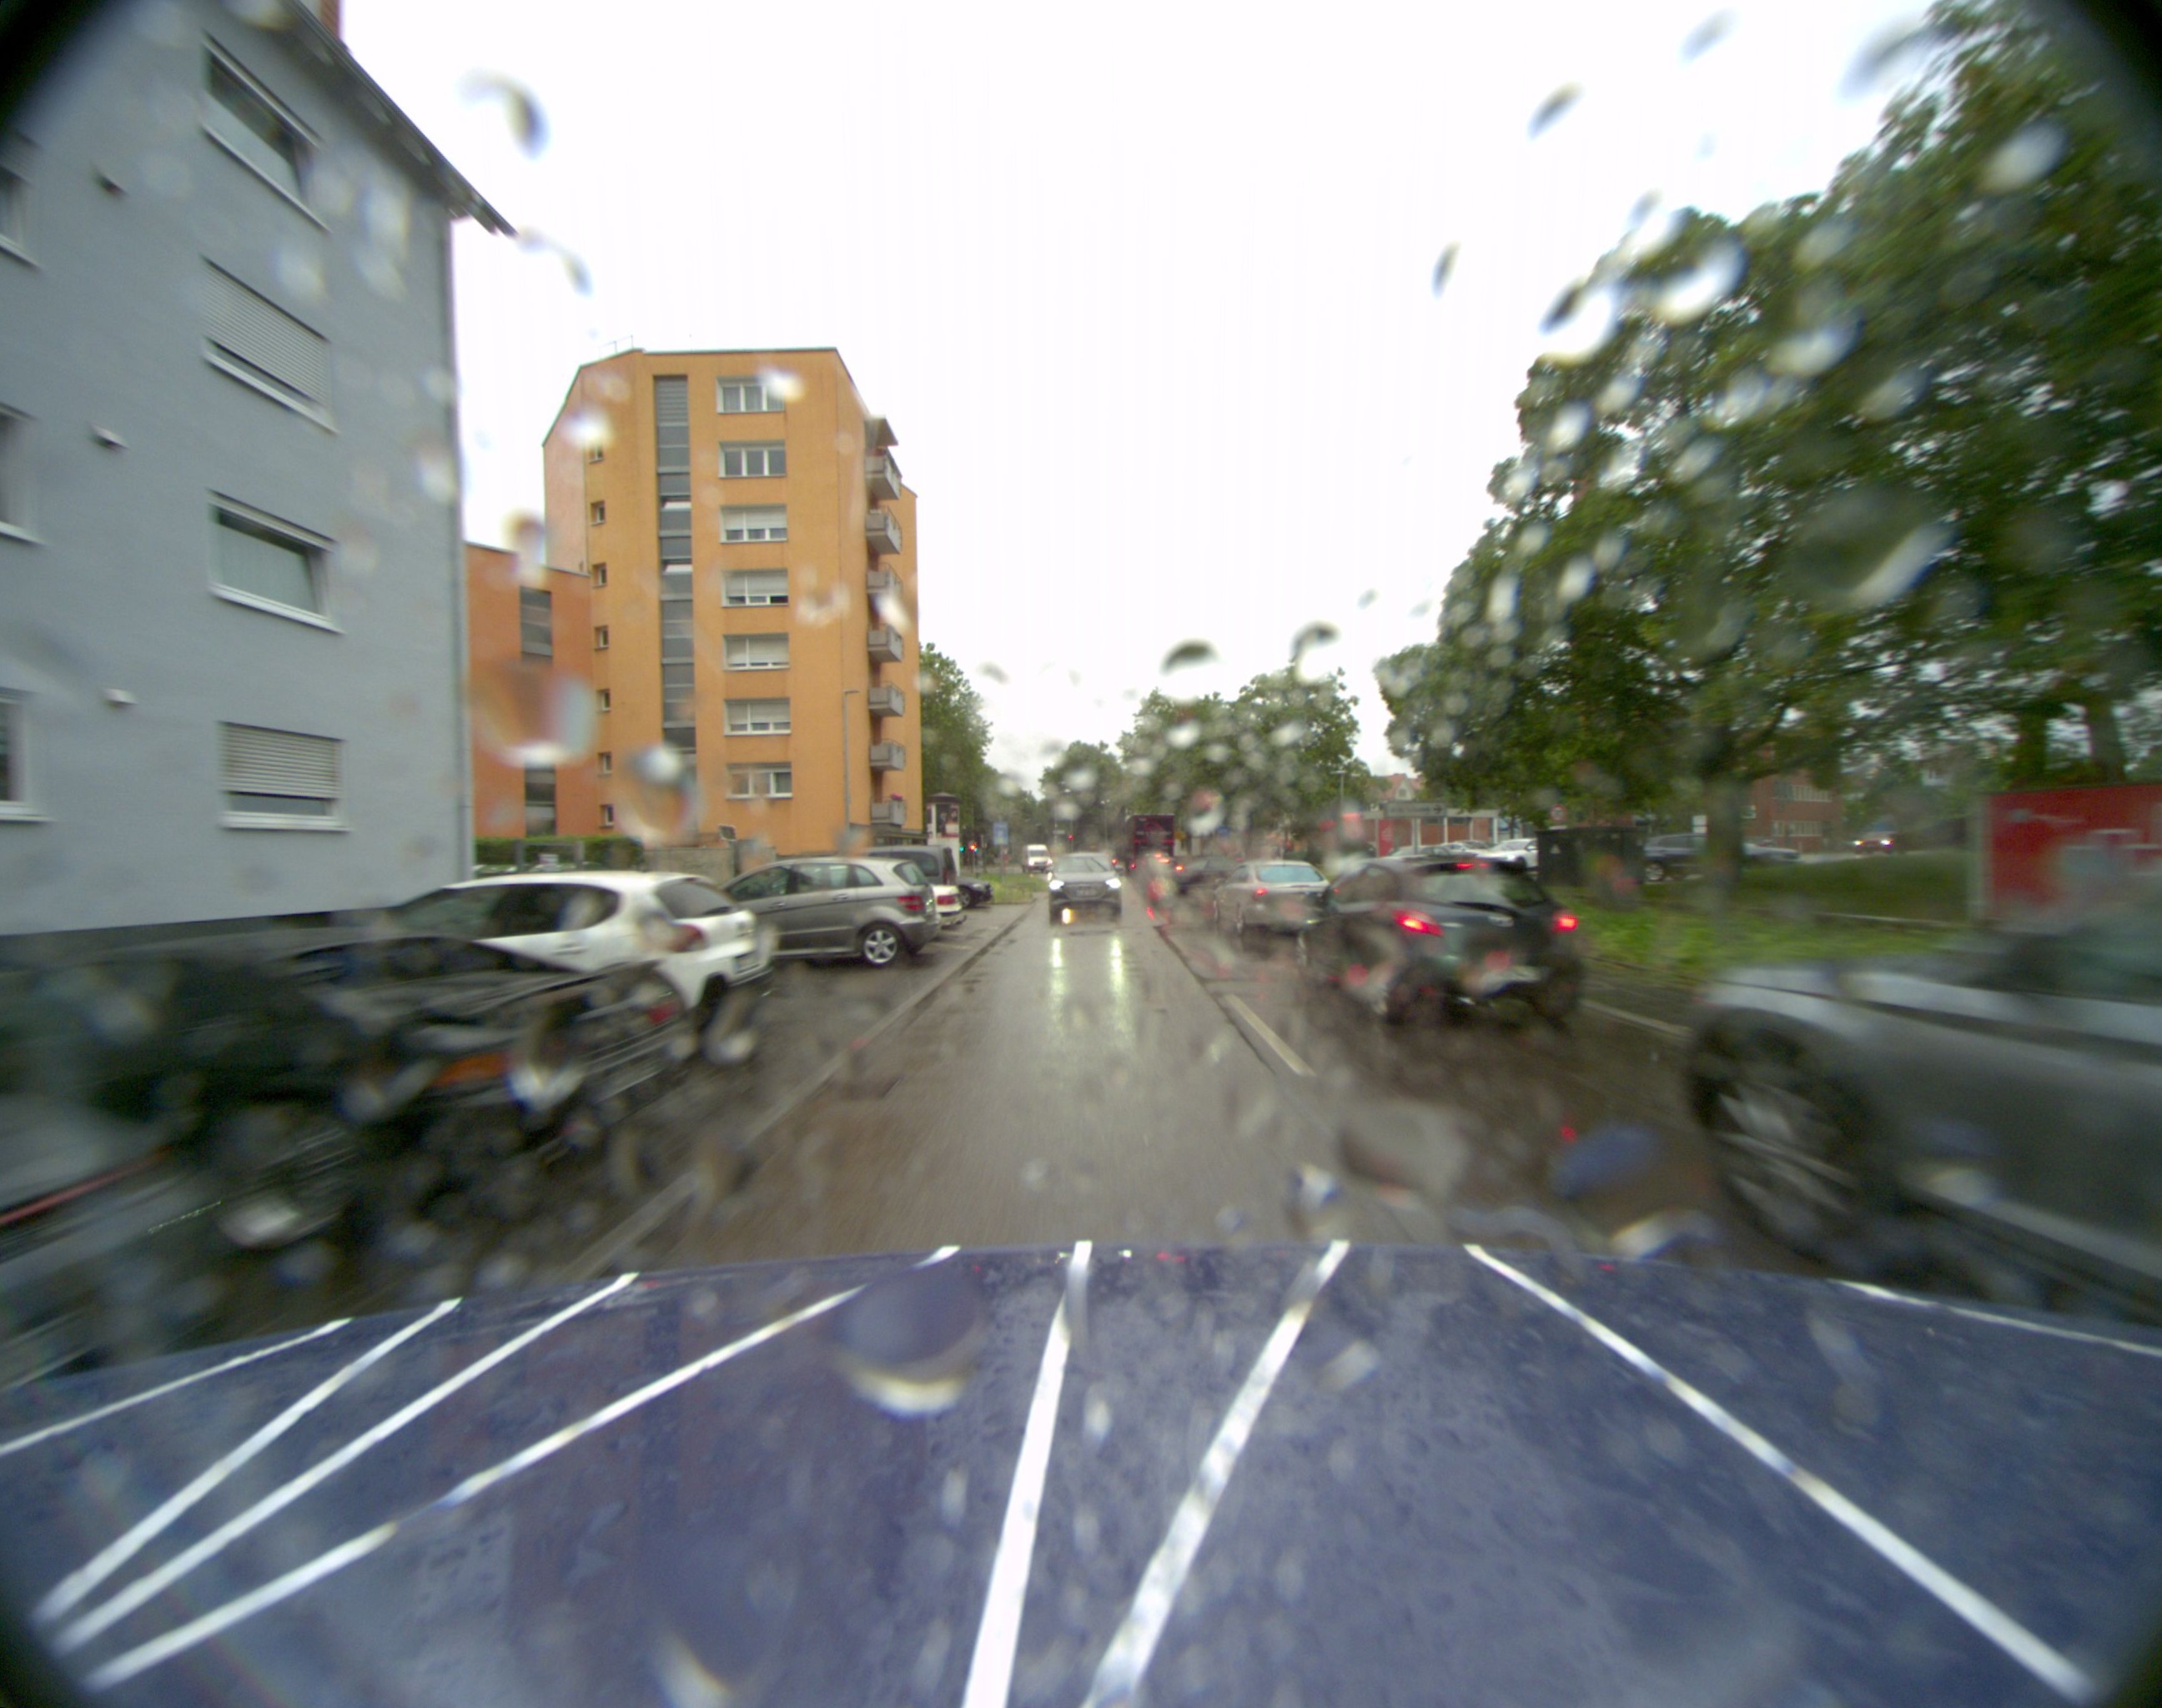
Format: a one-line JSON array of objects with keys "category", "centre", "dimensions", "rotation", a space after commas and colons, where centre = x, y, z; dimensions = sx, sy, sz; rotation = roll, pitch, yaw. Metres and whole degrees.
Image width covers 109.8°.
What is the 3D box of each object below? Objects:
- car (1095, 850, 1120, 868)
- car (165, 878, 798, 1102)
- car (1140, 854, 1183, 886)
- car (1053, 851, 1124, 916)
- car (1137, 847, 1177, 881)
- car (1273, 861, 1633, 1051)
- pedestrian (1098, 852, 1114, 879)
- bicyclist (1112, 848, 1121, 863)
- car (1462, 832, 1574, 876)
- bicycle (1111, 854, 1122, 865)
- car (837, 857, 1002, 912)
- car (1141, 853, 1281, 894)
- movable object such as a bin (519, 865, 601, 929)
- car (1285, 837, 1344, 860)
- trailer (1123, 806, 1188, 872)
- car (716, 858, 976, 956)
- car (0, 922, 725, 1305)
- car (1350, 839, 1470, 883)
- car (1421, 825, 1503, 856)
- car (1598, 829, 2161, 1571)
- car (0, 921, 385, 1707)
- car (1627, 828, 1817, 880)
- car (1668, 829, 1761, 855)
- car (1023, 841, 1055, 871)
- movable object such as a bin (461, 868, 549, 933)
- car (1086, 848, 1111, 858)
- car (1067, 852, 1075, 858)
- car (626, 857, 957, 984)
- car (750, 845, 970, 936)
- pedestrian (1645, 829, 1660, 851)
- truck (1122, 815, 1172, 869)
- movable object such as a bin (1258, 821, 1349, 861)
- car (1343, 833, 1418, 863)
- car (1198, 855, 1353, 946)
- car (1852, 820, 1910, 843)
[{"category": "car", "centre": [2.127, 0.381, 62.317], "dimensions": [1.703, 1.365, 4.099], "rotation": [-2, 0, -2]}, {"category": "car", "centre": [-4.709, 1.022, 6.481], "dimensions": [3.864, 1.446, 1.836], "rotation": [-2, 1, -1]}, {"category": "car", "centre": [3.704, 0.700, 35.335], "dimensions": [1.730, 1.353, 4.338], "rotation": [-1, 0, 3]}, {"category": "car", "centre": [0.246, 0.767, 21.750], "dimensions": [1.809, 1.611, 4.137], "rotation": [-1, 1, 2]}, {"category": "car", "centre": [4.157, 0.521, 42.114], "dimensions": [1.872, 1.610, 4.801], "rotation": [-1, 2, 2]}, {"category": "car", "centre": [3.430, 0.819, 8.039], "dimensions": [1.783, 1.412, 4.265], "rotation": [-1, 0, 1]}, {"category": "pedestrian", "centre": [1.700, 0.757, 52.166], "dimensions": [0.870, 1.833, 0.993], "rotation": [-1, 1, 14]}, {"category": "bicyclist", "centre": [3.473, 0.190, 74.344], "dimensions": [0.581, 1.452, 1.010], "rotation": [-1, 1, -12]}, {"category": "car", "centre": [18.843, -0.036, 32.713], "dimensions": [4.655, 1.697, 2.041], "rotation": [-2, 1, -29]}, {"category": "bicycle", "centre": [3.478, 0.513, 74.307], "dimensions": [0.533, 1.018, 1.872], "rotation": [-1, 0, -12]}, {"category": "car", "centre": [-4.800, 0.894, 23.092], "dimensions": [4.544, 1.462, 1.983], "rotation": [-1, 1, 1]}, {"category": "car", "centre": [5.031, 0.748, 29.618], "dimensions": [4.915, 1.445, 2.090], "rotation": [-1, 0, 33]}, {"category": "movable object such as a bin", "centre": [-11.659, 0.948, 17.040], "dimensions": [1.237, 1.369, 0.823], "rotation": [-2, 0, 8]}, {"category": "car", "centre": [17.838, -0.378, 58.182], "dimensions": [3.994, 1.591, 2.002], "rotation": [-2, -1, 9]}, {"category": "trailer", "centre": [5.035, -0.933, 54.477], "dimensions": [3.450, 4.025, 15.051], "rotation": [-1, 0, 1]}, {"category": "car", "centre": [-4.184, 0.916, 14.081], "dimensions": [4.200, 1.559, 1.888], "rotation": [-1, 1, -1]}, {"category": "car", "centre": [-4.204, 1.082, 3.810], "dimensions": [3.863, 1.200, 1.956], "rotation": [-2, 0, 3]}, {"category": "car", "centre": [12.738, 0.246, 29.403], "dimensions": [4.346, 1.387, 2.008], "rotation": [-3, 1, -29]}, {"category": "car", "centre": [26.380, -0.902, 52.783], "dimensions": [2.003, 2.002, 4.665], "rotation": [-2, 0, -34]}, {"category": "car", "centre": [3.350, 0.776, 1.194], "dimensions": [1.918, 1.630, 4.822], "rotation": [-2, 1, 2]}, {"category": "car", "centre": [-4.196, 1.031, 1.268], "dimensions": [4.154, 1.477, 2.012], "rotation": [-2, 1, 1]}, {"category": "car", "centre": [20.358, 0.033, 24.353], "dimensions": [1.792, 1.500, 4.290], "rotation": [-1, -1, -28]}, {"category": "car", "centre": [46.509, -0.891, 55.876], "dimensions": [2.003, 1.713, 4.891], "rotation": [-2, 0, -33]}, {"category": "car", "centre": [-3.990, 0.186, 71.340], "dimensions": [2.284, 2.547, 6.506], "rotation": [-2, 0, -8]}, {"category": "movable object such as a bin", "centre": [-12.977, 1.031, 17.139], "dimensions": [1.218, 1.369, 0.955], "rotation": [-2, 0, 8]}, {"category": "car", "centre": [3.255, -0.131, 141.730], "dimensions": [4.668, 1.863, 2.034], "rotation": [-1, 0, 2]}, {"category": "car", "centre": [-2.952, 0.237, 220.818], "dimensions": [1.999, 1.795, 4.349], "rotation": [-2, 0, -2]}, {"category": "car", "centre": [-4.155, 0.925, 11.467], "dimensions": [4.192, 1.562, 1.890], "rotation": [-2, 1, 0]}, {"category": "car", "centre": [-4.677, 0.740, 16.639], "dimensions": [4.243, 1.795, 1.944], "rotation": [-1, 1, -2]}, {"category": "pedestrian", "centre": [45.005, -1.117, 59.867], "dimensions": [0.781, 1.674, 0.676], "rotation": [-2, 1, -29]}, {"category": "truck", "centre": [5.203, -0.929, 61.475], "dimensions": [3.458, 4.054, 6.974], "rotation": [-2, 0, 1]}, {"category": "movable object such as a bin", "centre": [17.768, -1.017, 61.077], "dimensions": [6.767, 2.913, 2.777], "rotation": [-2, 0, 12]}, {"category": "car", "centre": [18.741, -0.351, 47.656], "dimensions": [2.003, 1.780, 3.991], "rotation": [-1, 0, -30]}, {"category": "car", "centre": [3.629, 0.790, 15.136], "dimensions": [1.779, 1.395, 4.829], "rotation": [-2, 1, 0]}, {"category": "car", "centre": [61.167, -1.710, 58.089], "dimensions": [4.005, 1.566, 1.996], "rotation": [-2, 0, -27]}]
